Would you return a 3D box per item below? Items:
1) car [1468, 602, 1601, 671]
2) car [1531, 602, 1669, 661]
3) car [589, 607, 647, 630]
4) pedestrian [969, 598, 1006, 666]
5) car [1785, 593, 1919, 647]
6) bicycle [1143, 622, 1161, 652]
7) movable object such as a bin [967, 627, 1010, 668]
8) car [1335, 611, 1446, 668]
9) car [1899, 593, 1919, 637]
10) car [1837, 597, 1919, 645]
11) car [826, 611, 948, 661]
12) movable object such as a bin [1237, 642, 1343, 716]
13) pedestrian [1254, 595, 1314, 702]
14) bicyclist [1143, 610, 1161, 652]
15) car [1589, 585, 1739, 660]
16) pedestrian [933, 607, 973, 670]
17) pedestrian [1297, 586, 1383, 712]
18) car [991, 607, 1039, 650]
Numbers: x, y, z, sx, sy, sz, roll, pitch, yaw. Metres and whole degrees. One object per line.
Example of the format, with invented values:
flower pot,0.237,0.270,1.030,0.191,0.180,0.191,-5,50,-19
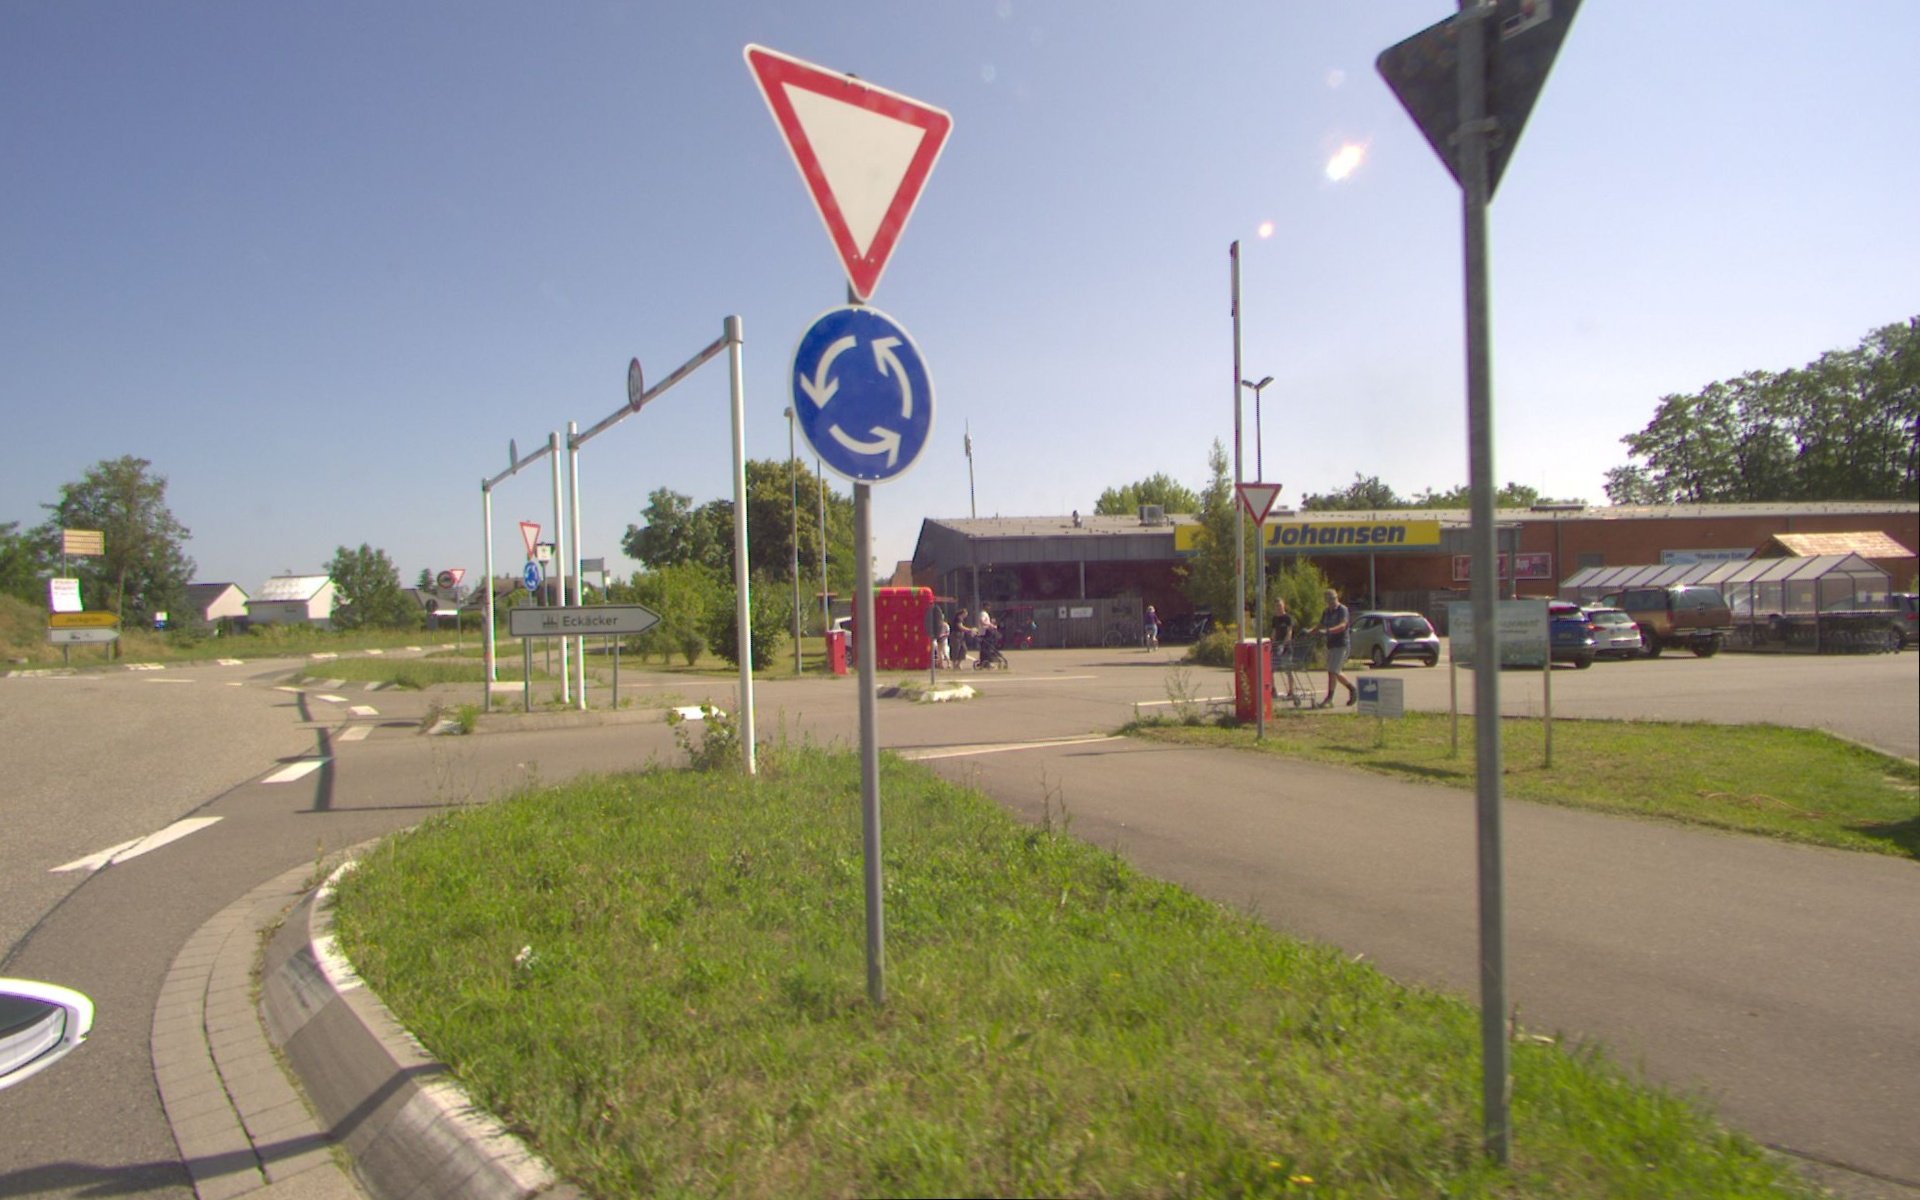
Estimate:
car,14.430,0.869,25.432,1.684,1.592,4.425,-1,-1,13
car,17.702,0.834,27.891,1.683,1.517,3.492,-1,0,2
car,-23.752,1.269,69.738,1.887,1.452,4.912,-4,-1,6
pedestrian,0.791,0.905,28.589,0.826,1.896,0.772,0,0,22
car,26.612,0.559,28.988,1.944,1.438,3.999,-1,-1,-5
bicycle,7.144,1.369,37.233,0.543,1.055,2.074,-1,0,14
movable object such as a bin,0.761,1.288,27.201,1.021,1.060,0.768,-1,0,-11
car,11.931,1.058,27.994,1.683,1.477,3.492,-1,0,2
car,31.398,0.452,30.473,1.682,1.416,3.999,-1,-1,-6
car,29.068,0.621,29.948,1.962,1.394,3.999,-1,-1,-7
car,-2.233,1.100,31.115,3.698,1.465,1.726,0,0,-2
movable object such as a bin,4.796,1.123,14.562,1.185,0.967,0.877,-1,0,-26
pedestrian,5.220,0.762,16.145,0.589,1.670,0.698,-1,1,-37
bicyclist,7.129,1.133,37.153,0.596,1.535,0.677,-1,1,14
car,19.785,0.621,28.333,1.842,1.954,3.492,-1,0,2
pedestrian,-0.192,1.020,26.988,0.909,1.640,0.814,-1,0,-14
pedestrian,5.691,0.711,15.024,0.829,1.809,0.877,-1,0,-24
car,2.184,1.132,40.109,1.793,1.657,1.130,-1,0,-4
